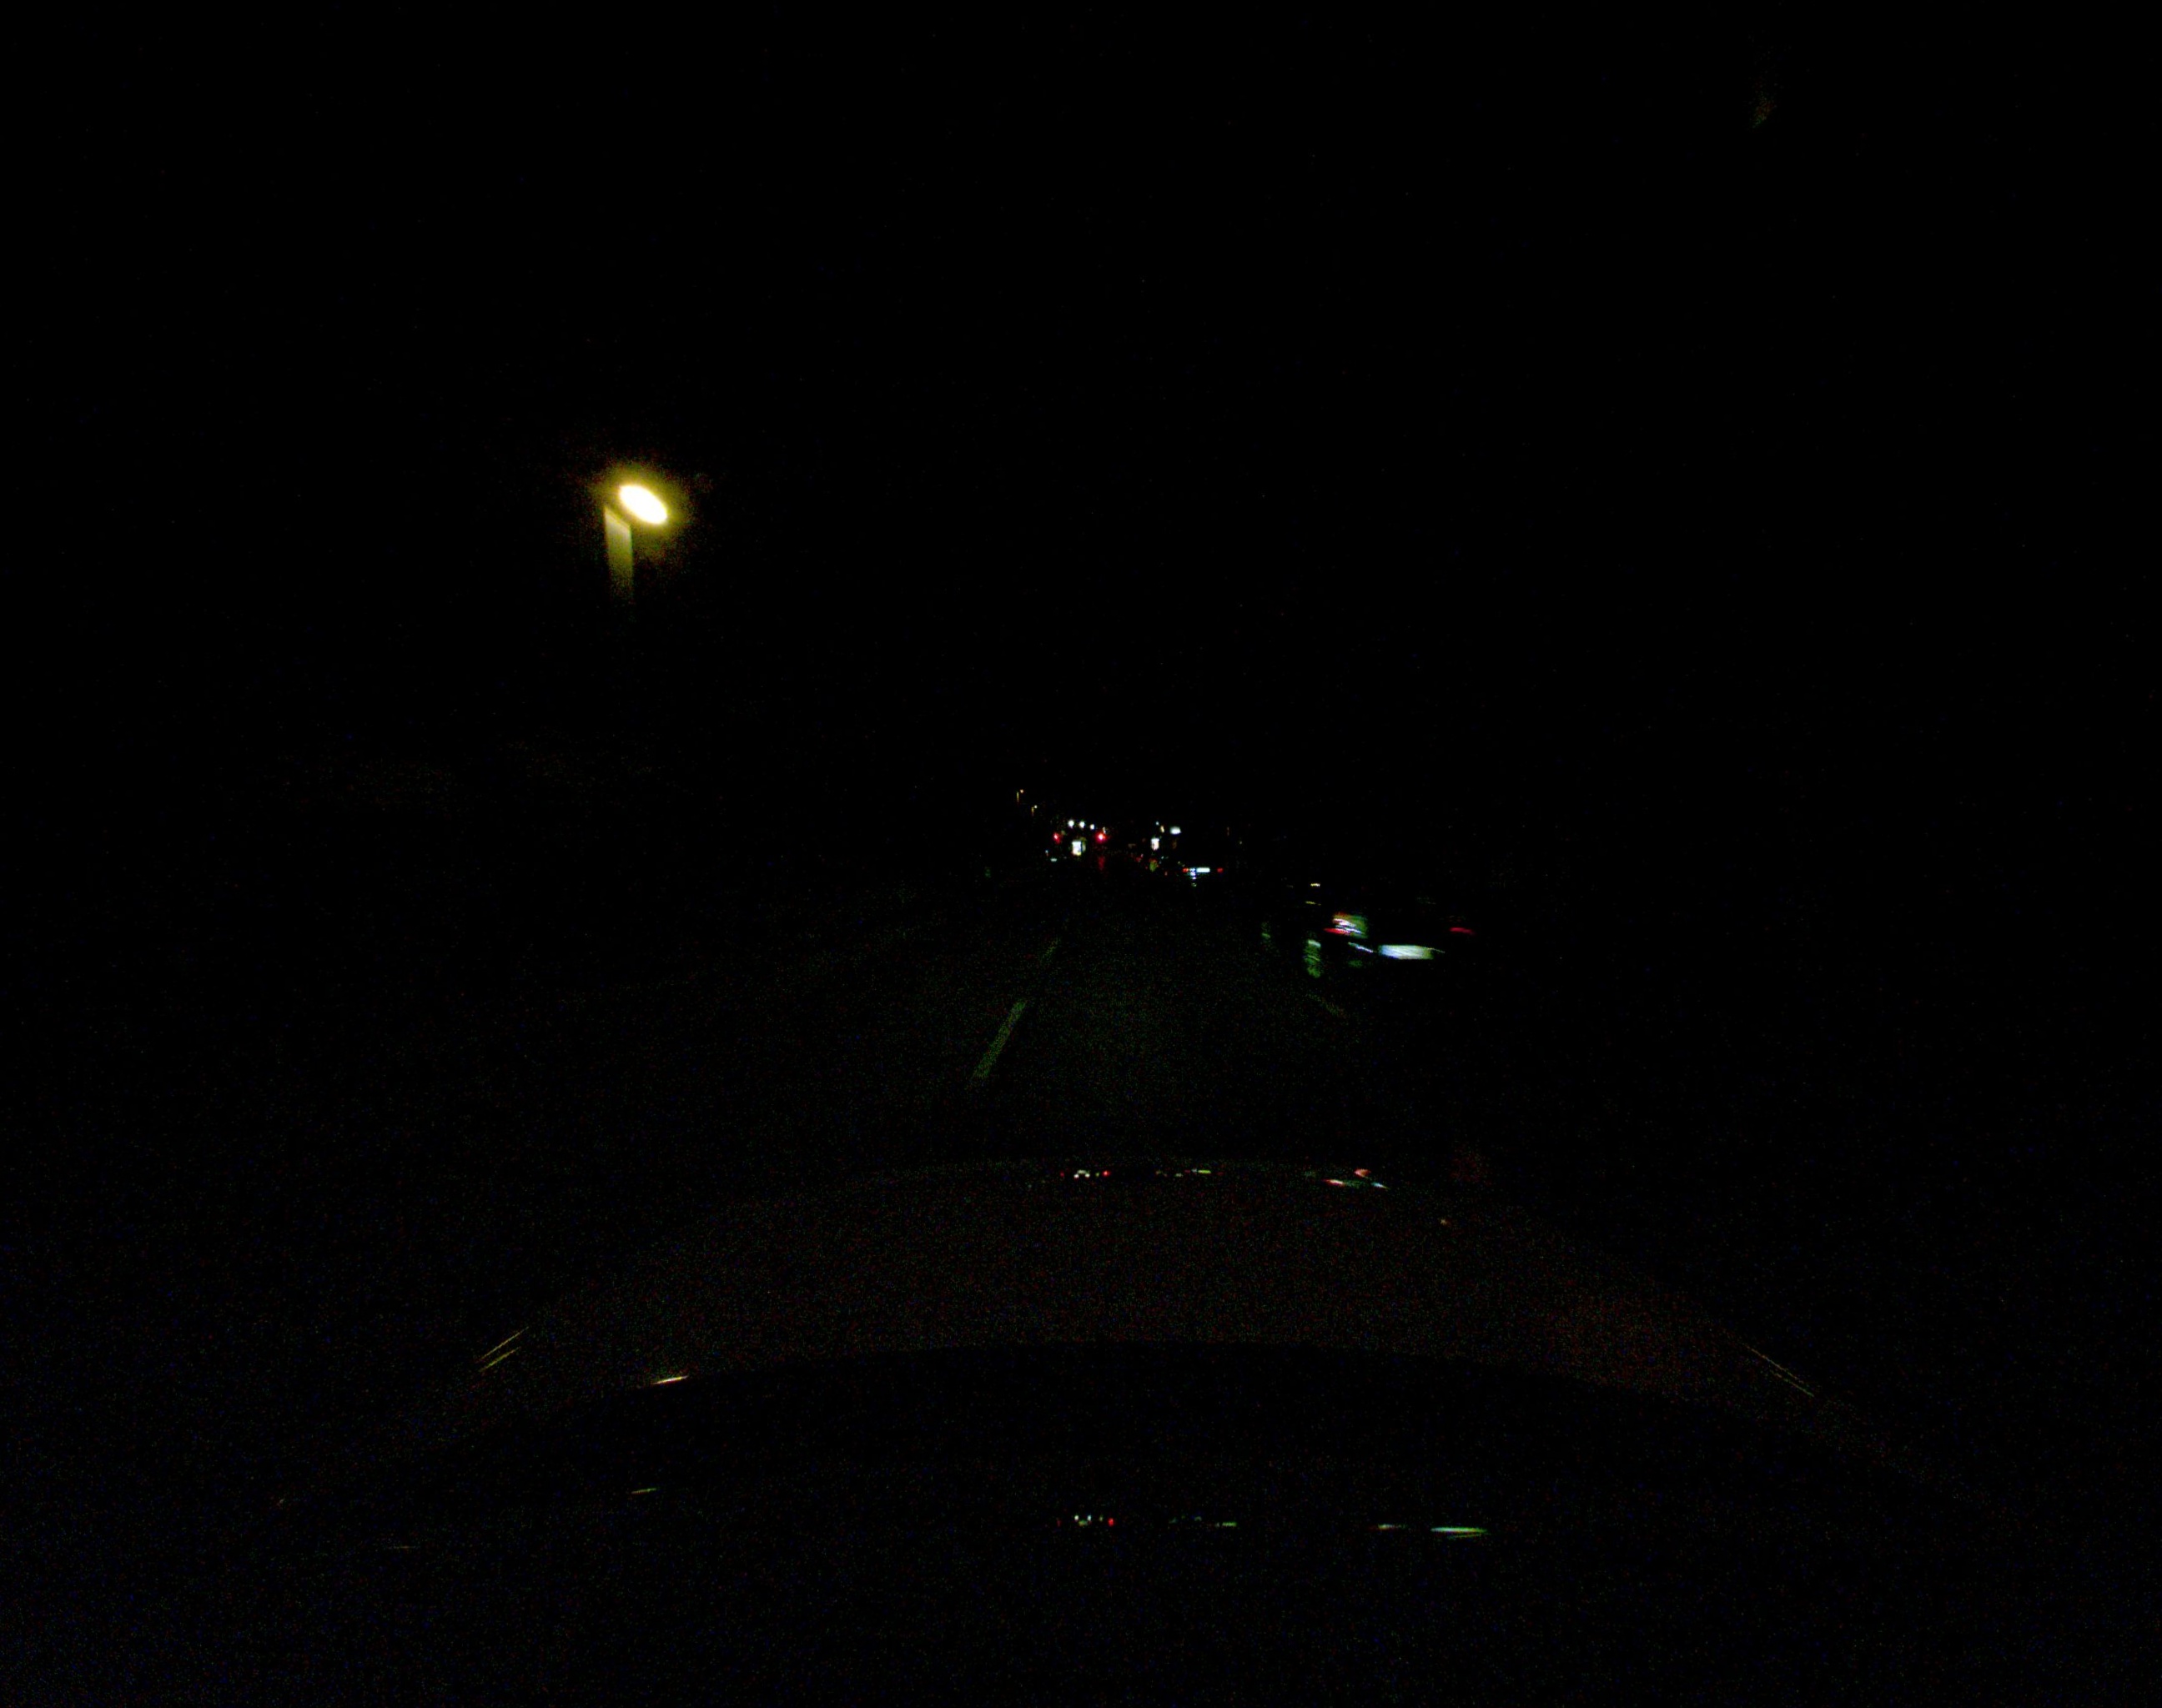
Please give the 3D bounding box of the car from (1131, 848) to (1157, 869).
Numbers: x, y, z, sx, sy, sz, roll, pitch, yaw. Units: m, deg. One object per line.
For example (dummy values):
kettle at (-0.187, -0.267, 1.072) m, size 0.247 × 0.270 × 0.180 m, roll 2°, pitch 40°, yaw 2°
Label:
car at (4.691, 0.310, 61.220) m, size 1.677 × 1.448 × 3.999 m, roll 0°, pitch 1°, yaw 0°

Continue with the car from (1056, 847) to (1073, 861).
car at (-1.905, 0.026, 94.098) m, size 1.747 × 1.539 × 3.731 m, roll -1°, pitch 0°, yaw 0°

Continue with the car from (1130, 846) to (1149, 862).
car at (5.838, 0.024, 81.618) m, size 1.675 × 1.539 × 4.003 m, roll -1°, pitch 0°, yaw 2°

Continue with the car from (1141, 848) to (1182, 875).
car at (4.458, 0.369, 45.395) m, size 1.679 × 1.448 × 3.995 m, roll 0°, pitch 1°, yaw -3°

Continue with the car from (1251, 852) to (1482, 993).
car at (3.393, 0.707, 10.445) m, size 1.624 × 1.439 × 3.864 m, roll -1°, pitch 0°, yaw 0°

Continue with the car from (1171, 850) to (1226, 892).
car at (4.254, 0.581, 29.936) m, size 1.859 × 1.403 × 4.007 m, roll 0°, pitch 1°, yaw 6°

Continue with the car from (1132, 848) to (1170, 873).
car at (4.252, 0.363, 49.916) m, size 1.679 × 1.448 × 3.994 m, roll 0°, pitch 1°, yaw -5°

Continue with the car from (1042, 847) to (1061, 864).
car at (-2.768, 0.135, 76.982) m, size 1.748 × 1.539 × 3.728 m, roll -1°, pitch 0°, yaw -2°

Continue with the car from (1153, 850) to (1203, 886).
car at (4.085, 0.546, 34.790) m, size 1.677 × 1.448 × 3.999 m, roll 0°, pitch 1°, yaw 0°
